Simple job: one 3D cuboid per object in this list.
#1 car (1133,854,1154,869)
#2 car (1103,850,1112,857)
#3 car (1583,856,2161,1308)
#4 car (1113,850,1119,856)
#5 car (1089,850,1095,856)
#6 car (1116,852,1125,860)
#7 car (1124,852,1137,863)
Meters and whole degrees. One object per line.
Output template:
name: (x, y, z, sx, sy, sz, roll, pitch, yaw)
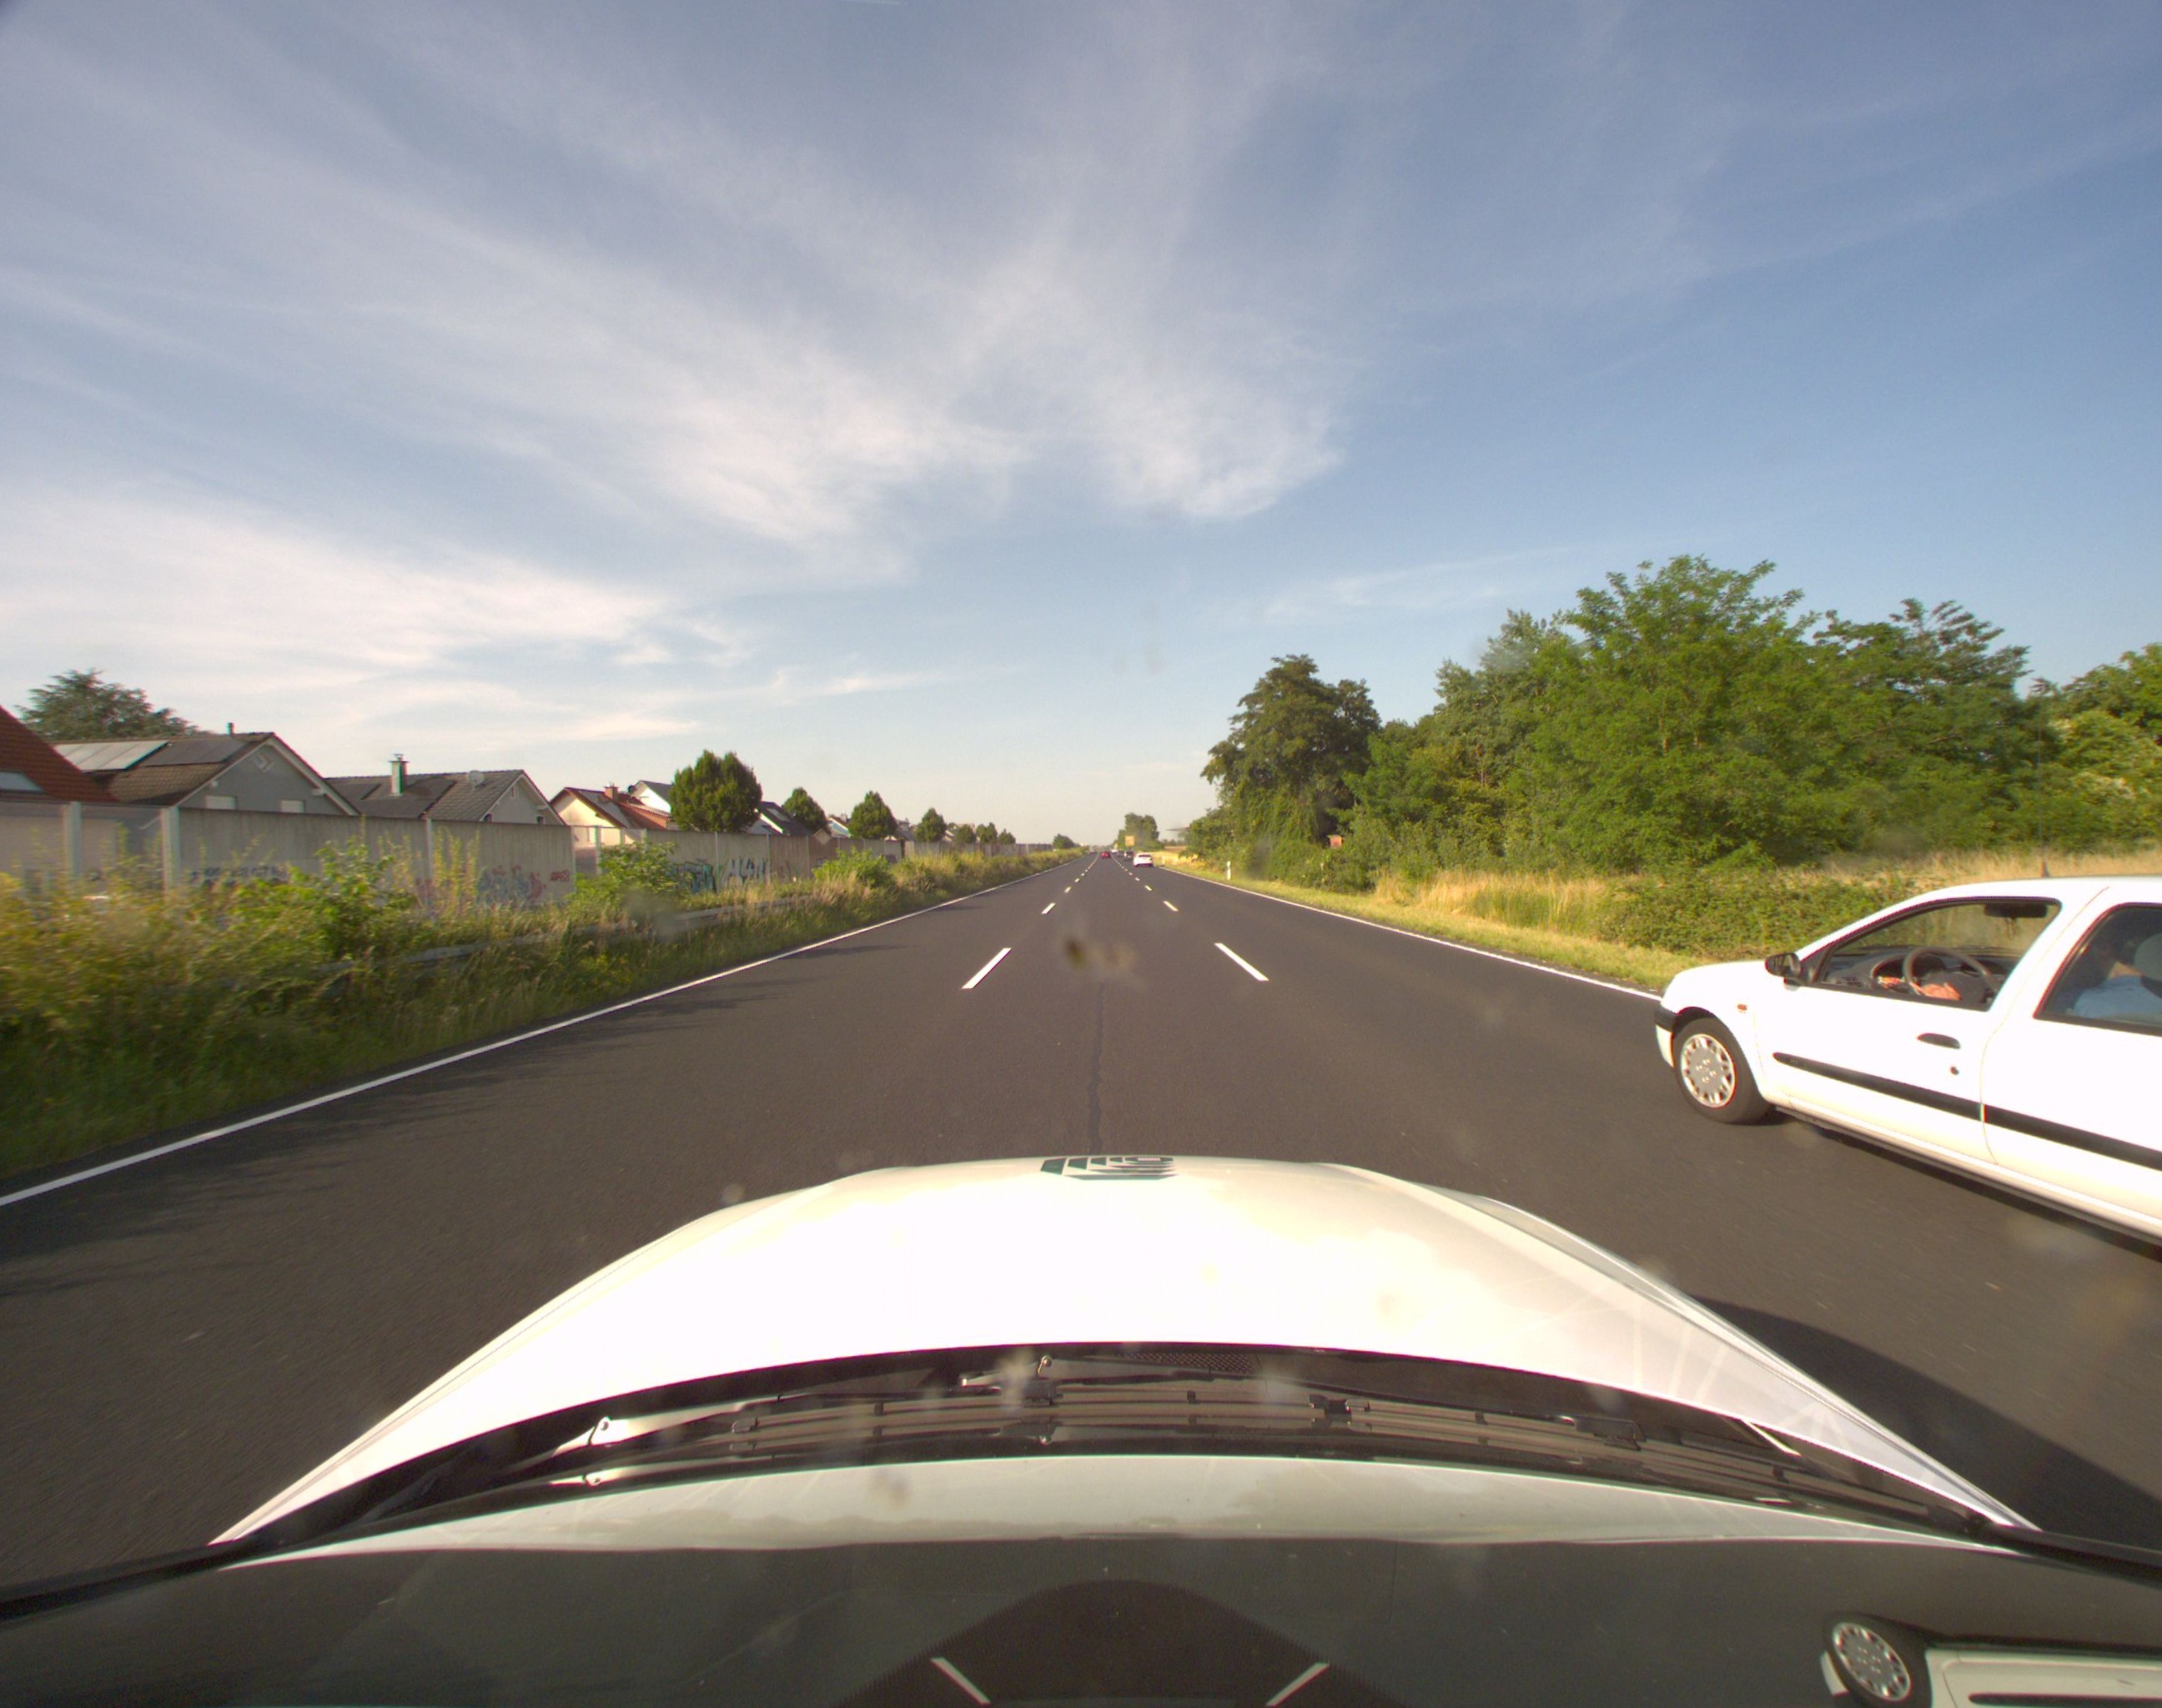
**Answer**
car: (6.380, 0.771, 83.595, 1.986, 1.516, 4.001, -1, -1, 1)
car: (5.218, -0.123, 160.509, 1.806, 1.436, 3.858, -1, -1, 1)
car: (4.153, 0.708, 3.495, 1.611, 1.387, 3.952, -1, -1, 1)
car: (10.854, -0.184, 252.649, 1.840, 1.750, 4.002, -1, -1, 2)
car: (3.364, -0.275, 252.014, 1.986, 1.717, 4.001, -1, -1, 1)
car: (8.532, 0.380, 177.083, 1.827, 1.717, 3.864, -1, -1, 2)
car: (7.814, 0.528, 128.505, 1.821, 1.728, 4.001, -1, -1, 1)
